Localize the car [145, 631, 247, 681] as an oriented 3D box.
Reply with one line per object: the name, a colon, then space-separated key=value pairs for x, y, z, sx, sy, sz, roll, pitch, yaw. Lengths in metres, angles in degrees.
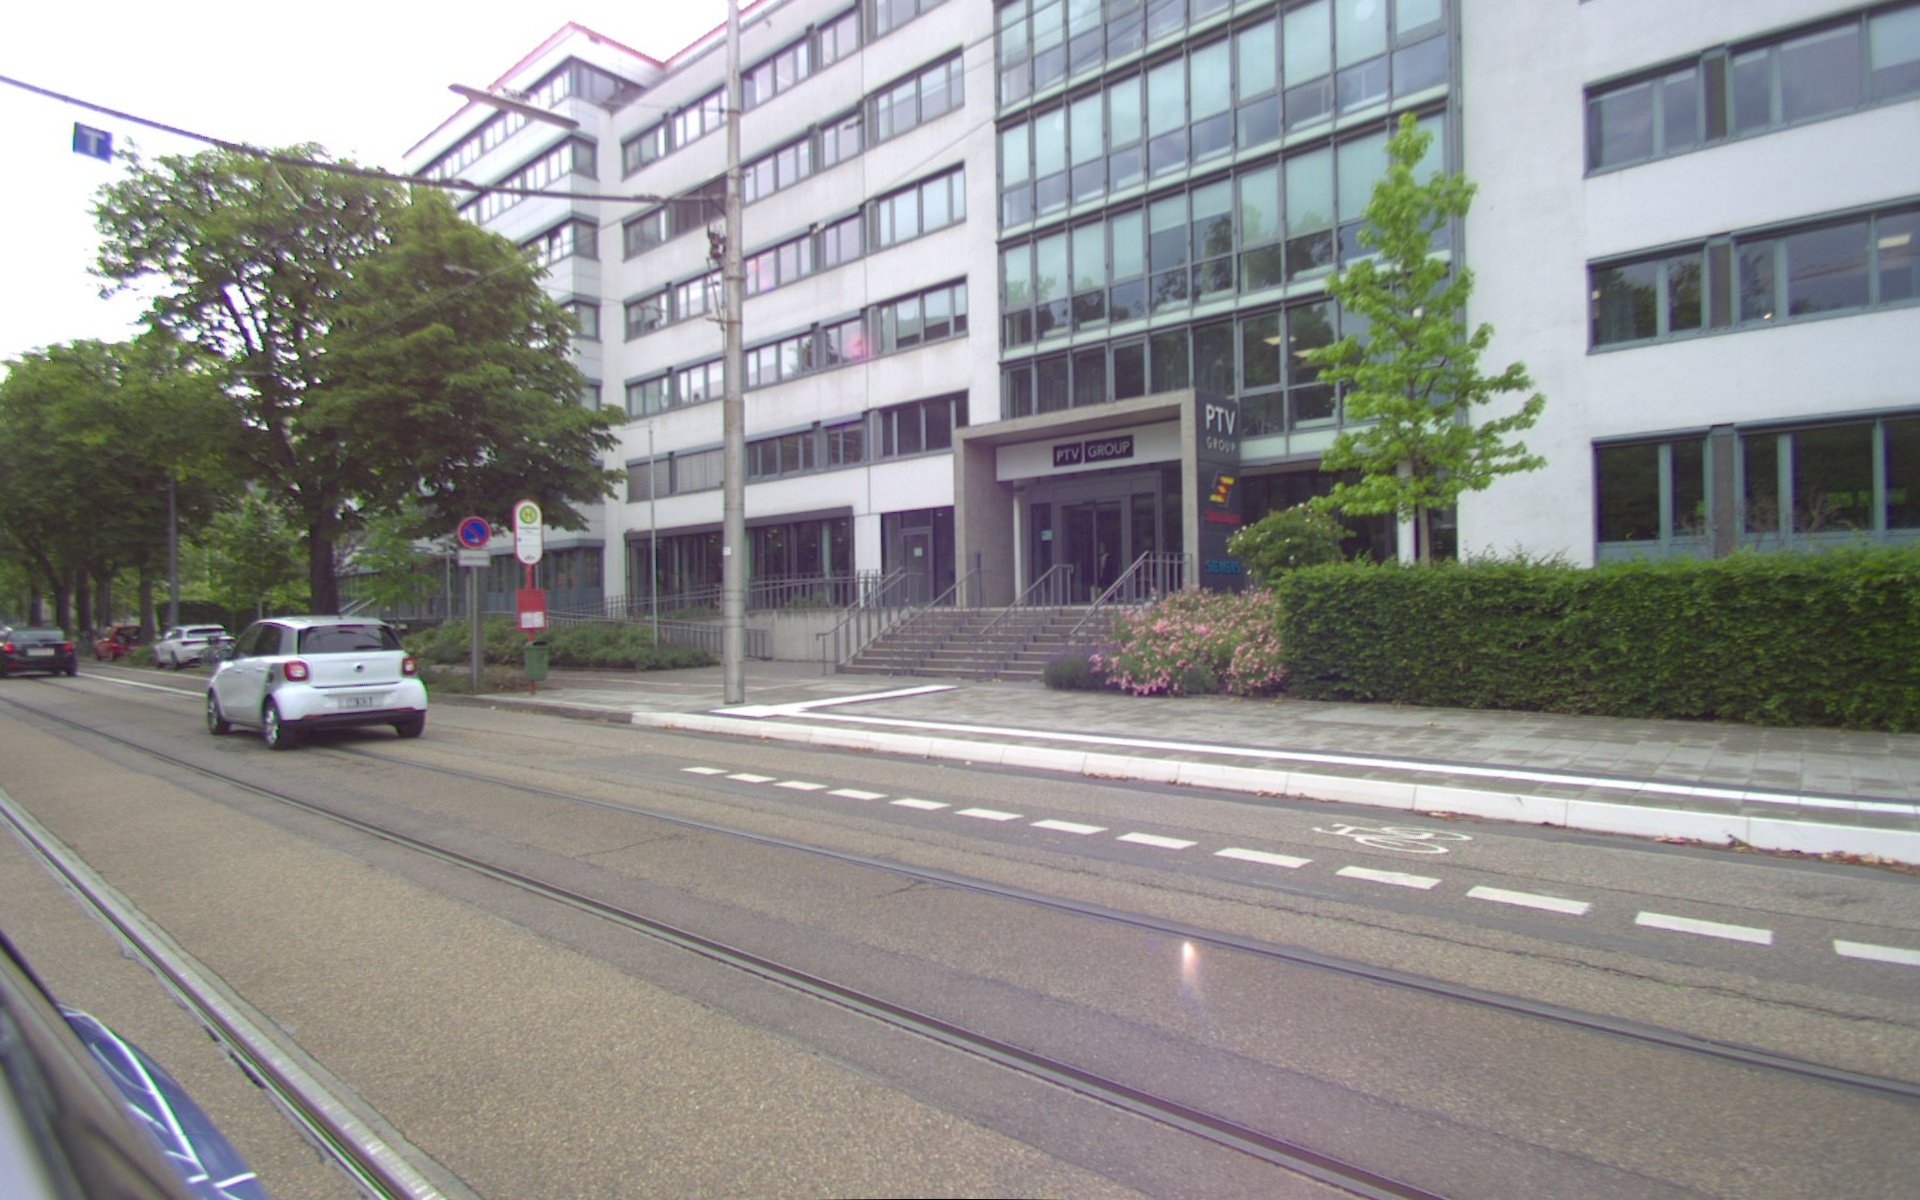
car: x=-26.401 y=1.880 z=34.907 sx=4.751 sy=1.504 sz=1.862 roll=-2 pitch=0 yaw=41

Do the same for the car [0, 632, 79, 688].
car: x=-27.379 y=1.745 z=29.729 sx=4.061 sy=1.497 sz=1.729 roll=-3 pitch=-2 yaw=41

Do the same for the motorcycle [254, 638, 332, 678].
motorcycle: x=-19.698 y=1.692 z=29.915 sx=0.731 sy=1.058 sz=1.773 roll=-1 pitch=0 yaw=34

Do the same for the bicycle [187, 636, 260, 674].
bicycle: x=-24.005 y=1.783 z=33.011 sx=1.843 sy=1.195 sz=0.633 roll=1 pitch=-2 yaw=-45

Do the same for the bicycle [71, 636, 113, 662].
bicycle: x=-42.289 y=2.389 z=49.334 sx=0.617 sy=1.149 sz=1.454 roll=-1 pitch=1 yaw=40

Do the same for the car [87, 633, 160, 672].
car: x=-36.139 y=2.228 z=43.702 sx=3.752 sy=1.458 sz=1.613 roll=-1 pitch=2 yaw=38

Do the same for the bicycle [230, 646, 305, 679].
bicycle: x=-21.126 y=1.896 z=30.906 sx=0.631 sy=0.906 sz=1.790 roll=-1 pitch=-1 yaw=35

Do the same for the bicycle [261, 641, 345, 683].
bicycle: x=-18.327 y=1.714 z=28.261 sx=0.739 sy=1.061 sz=1.814 roll=-2 pitch=-1 yaw=32

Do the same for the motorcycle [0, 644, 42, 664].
motorcycle: x=-58.185 y=3.348 z=62.526 sx=2.100 sy=1.111 sz=0.776 roll=-2 pitch=1 yaw=-8

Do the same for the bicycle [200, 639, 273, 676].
bicycle: x=-23.084 y=1.832 z=32.301 sx=0.631 sy=1.108 sz=1.790 roll=-1 pitch=-1 yaw=35

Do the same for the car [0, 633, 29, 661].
car: x=-64.537 y=3.199 z=68.669 sx=4.002 sy=1.722 sz=1.791 roll=-1 pitch=1 yaw=44

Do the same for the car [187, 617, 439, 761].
car: x=-8.319 y=1.009 z=12.905 sx=3.739 sy=1.541 sz=1.686 roll=-1 pitch=-1 yaw=40
